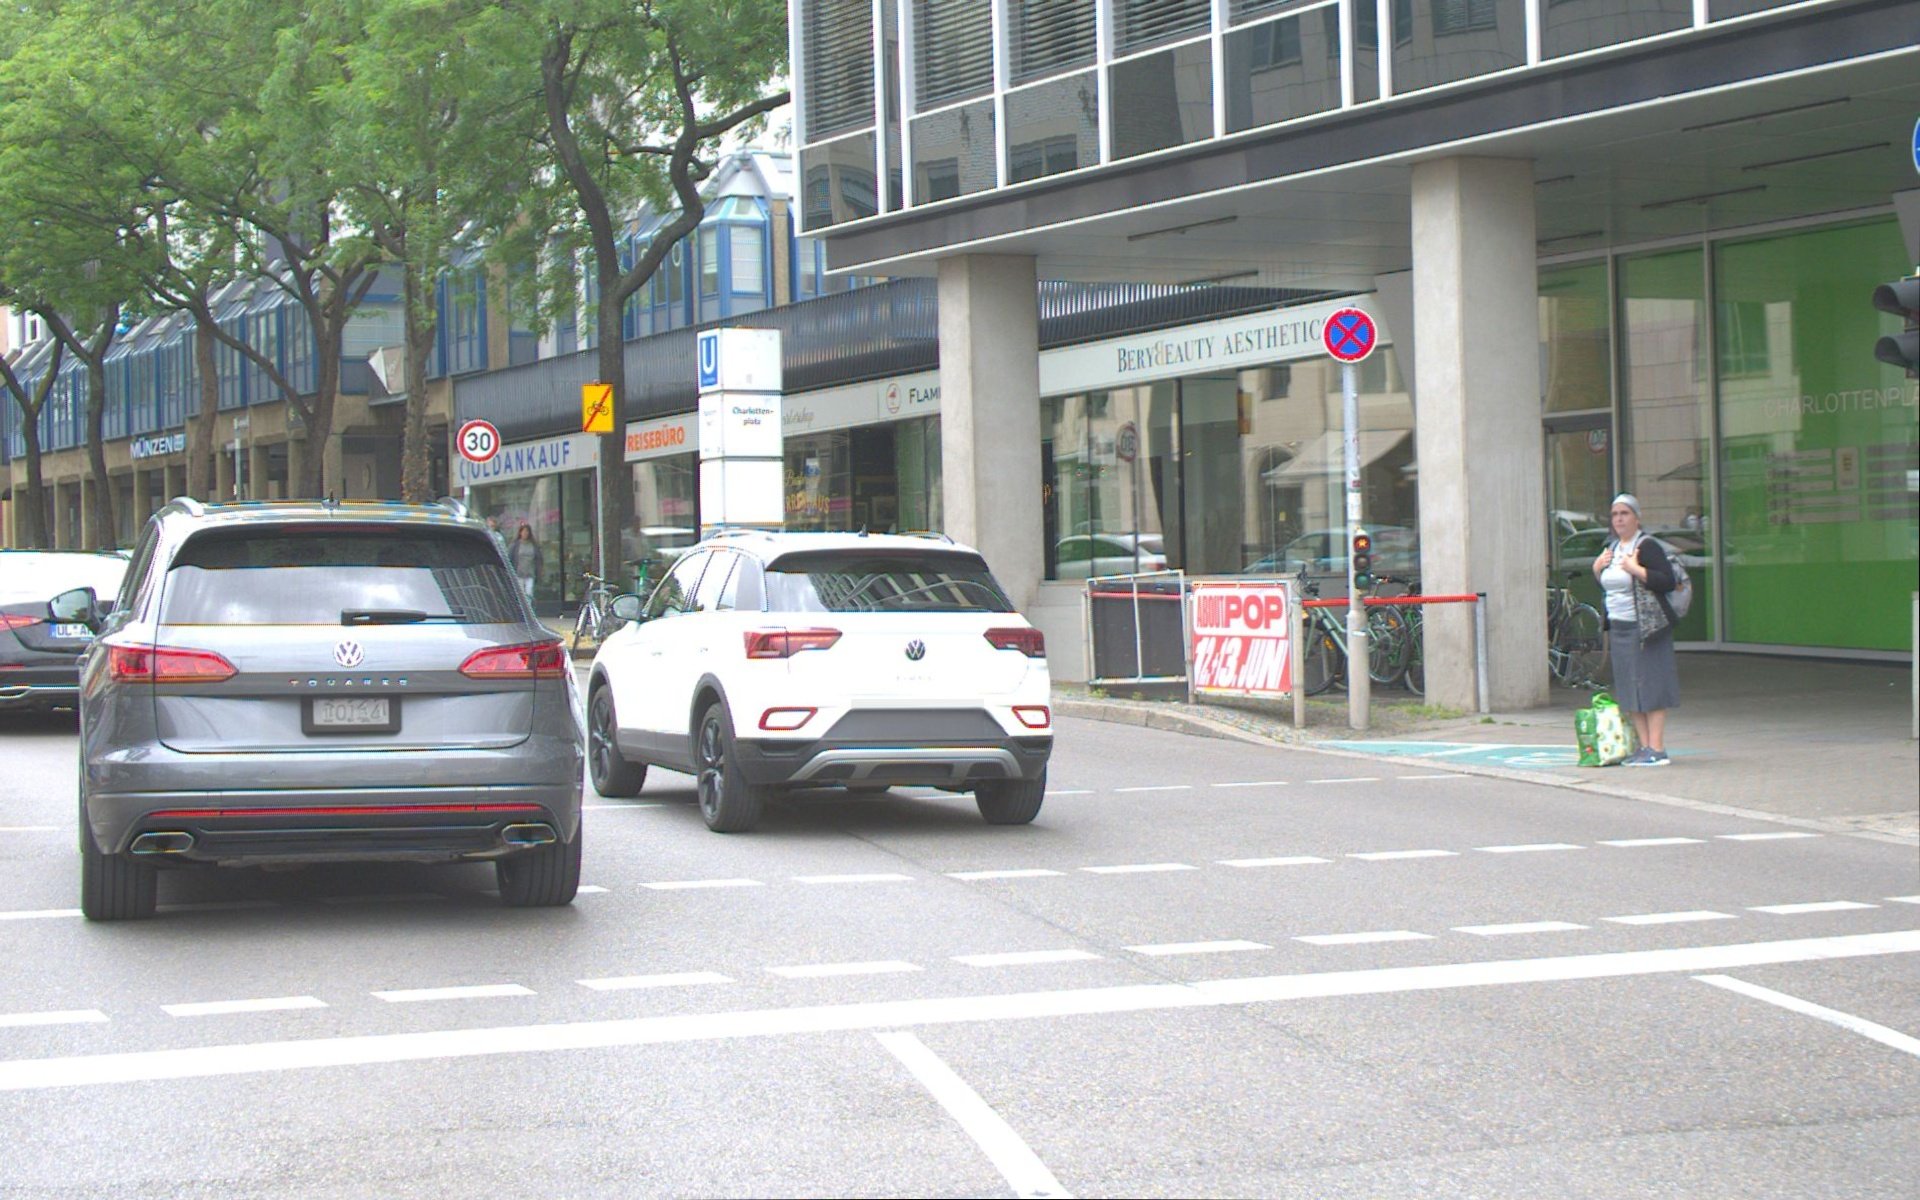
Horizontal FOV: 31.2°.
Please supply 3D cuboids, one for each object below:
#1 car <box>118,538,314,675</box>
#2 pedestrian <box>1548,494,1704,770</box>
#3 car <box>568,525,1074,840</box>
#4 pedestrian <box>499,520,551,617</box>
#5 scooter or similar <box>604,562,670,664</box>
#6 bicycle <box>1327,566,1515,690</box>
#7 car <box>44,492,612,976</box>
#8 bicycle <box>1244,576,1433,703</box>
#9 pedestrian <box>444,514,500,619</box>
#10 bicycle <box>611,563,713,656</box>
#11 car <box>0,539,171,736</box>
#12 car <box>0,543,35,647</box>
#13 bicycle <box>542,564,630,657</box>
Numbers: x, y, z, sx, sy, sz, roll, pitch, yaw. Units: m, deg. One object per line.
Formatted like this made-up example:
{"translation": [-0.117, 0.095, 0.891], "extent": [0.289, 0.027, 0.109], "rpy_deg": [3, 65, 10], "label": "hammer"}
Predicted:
{"translation": [-8.758, 0.034, 40.228], "extent": [1.833, 1.427, 4.149], "rpy_deg": [0, 2, -18], "label": "car"}
{"translation": [4.242, 0.205, 21.920], "extent": [0.525, 1.706, 0.753], "rpy_deg": [-3, 0, -30], "label": "pedestrian"}
{"translation": [-0.884, 0.360, 18.973], "extent": [1.797, 1.540, 3.937], "rpy_deg": [0, 1, -18], "label": "car"}
{"translation": [-7.433, -0.540, 58.724], "extent": [0.595, 1.623, 0.757], "rpy_deg": [-2, 2, -30], "label": "pedestrian"}
{"translation": [-4.010, 0.157, 42.641], "extent": [0.306, 1.247, 0.996], "rpy_deg": [-1, 1, -38], "label": "scooter or similar"}
{"translation": [4.001, 0.231, 29.912], "extent": [1.485, 1.044, 0.712], "rpy_deg": [1, 1, 44], "label": "bicycle"}
{"translation": [-2.840, 0.429, 14.659], "extent": [1.969, 1.689, 4.226], "rpy_deg": [-2, 2, -15], "label": "car"}
{"translation": [3.250, 0.325, 29.564], "extent": [1.485, 1.044, 0.712], "rpy_deg": [1, 1, 44], "label": "bicycle"}
{"translation": [-8.278, -0.567, 58.312], "extent": [0.595, 1.748, 0.941], "rpy_deg": [-2, 2, -30], "label": "pedestrian"}
{"translation": [-3.746, 0.107, 43.136], "extent": [0.489, 1.128, 1.887], "rpy_deg": [-1, 1, -31], "label": "bicycle"}
{"translation": [-7.452, 0.246, 27.816], "extent": [1.833, 1.390, 4.149], "rpy_deg": [0, 2, -16], "label": "car"}
{"translation": [-15.188, -0.067, 52.020], "extent": [1.831, 1.512, 3.768], "rpy_deg": [-2, 1, -22], "label": "car"}
{"translation": [-4.665, 0.120, 42.803], "extent": [0.489, 1.128, 1.844], "rpy_deg": [-1, 1, -26], "label": "bicycle"}
